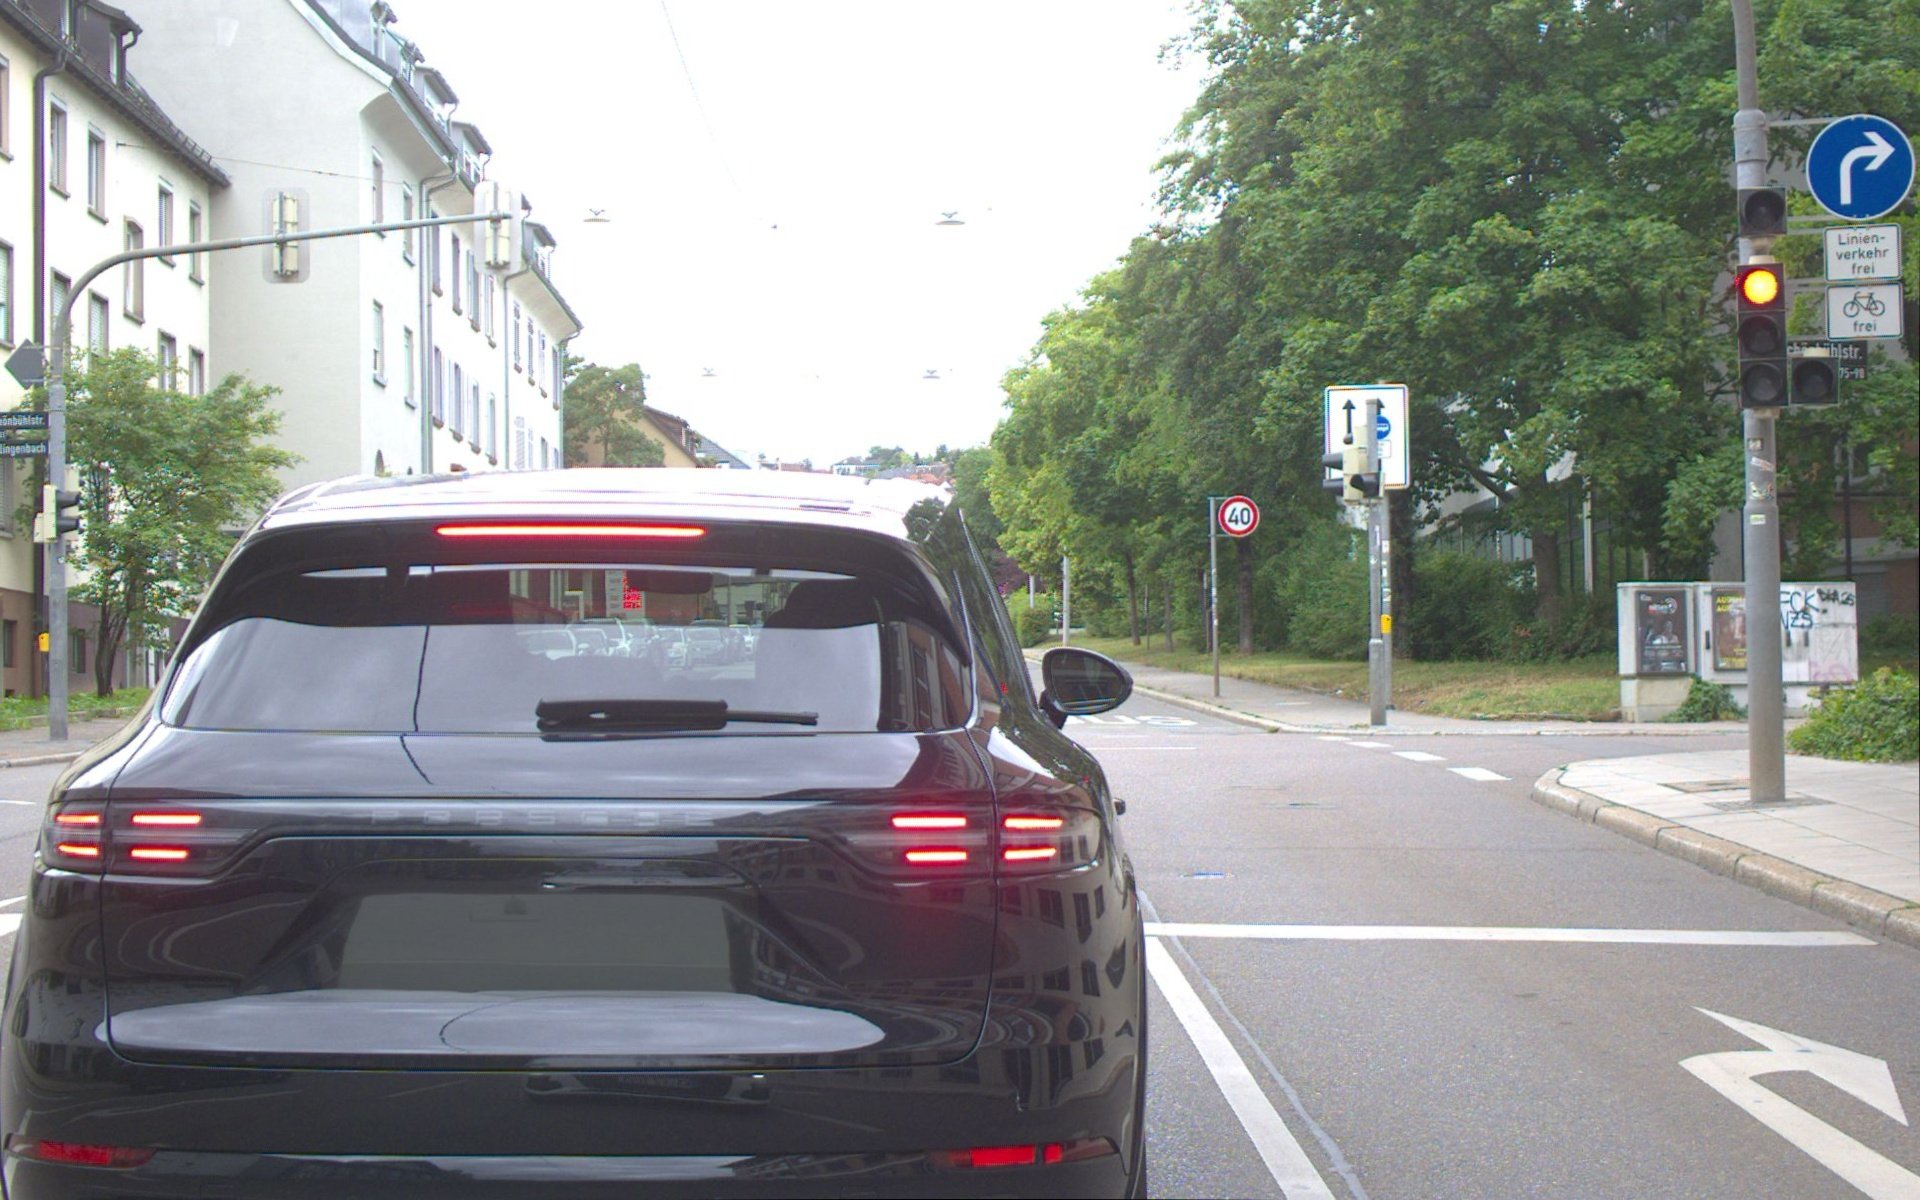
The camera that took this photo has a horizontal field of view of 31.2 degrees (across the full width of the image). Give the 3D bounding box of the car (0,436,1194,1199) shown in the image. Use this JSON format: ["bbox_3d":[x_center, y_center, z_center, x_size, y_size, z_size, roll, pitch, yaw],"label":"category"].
[{"bbox_3d":[-0.701,0.562,7.259,2.048,1.660,4.267,1,1,0],"label":"car"}]

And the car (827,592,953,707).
[{"bbox_3d":[-1.043,0.723,52.549,1.827,1.599,3.859,1,1,0],"label":"car"}]

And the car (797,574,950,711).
[{"bbox_3d":[-1.066,0.498,43.831,1.827,1.599,4.135,1,1,0],"label":"car"}]

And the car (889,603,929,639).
[{"bbox_3d":[-2.403,0.992,163.318,1.827,1.599,4.135,1,1,0],"label":"car"}]

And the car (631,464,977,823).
[{"bbox_3d":[-0.912,0.217,21.906,1.965,2.035,4.135,1,1,0],"label":"car"}]

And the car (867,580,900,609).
[{"bbox_3d":[-4.515,-0.350,202.953,1.827,1.599,4.135,1,1,0],"label":"car"}]

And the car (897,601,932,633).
[{"bbox_3d":[-2.415,0.886,182.494,1.827,1.599,4.135,1,1,0],"label":"car"}]

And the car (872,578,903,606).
[{"bbox_3d":[-4.418,-0.501,210.279,1.827,1.599,4.135,1,1,0],"label":"car"}]
